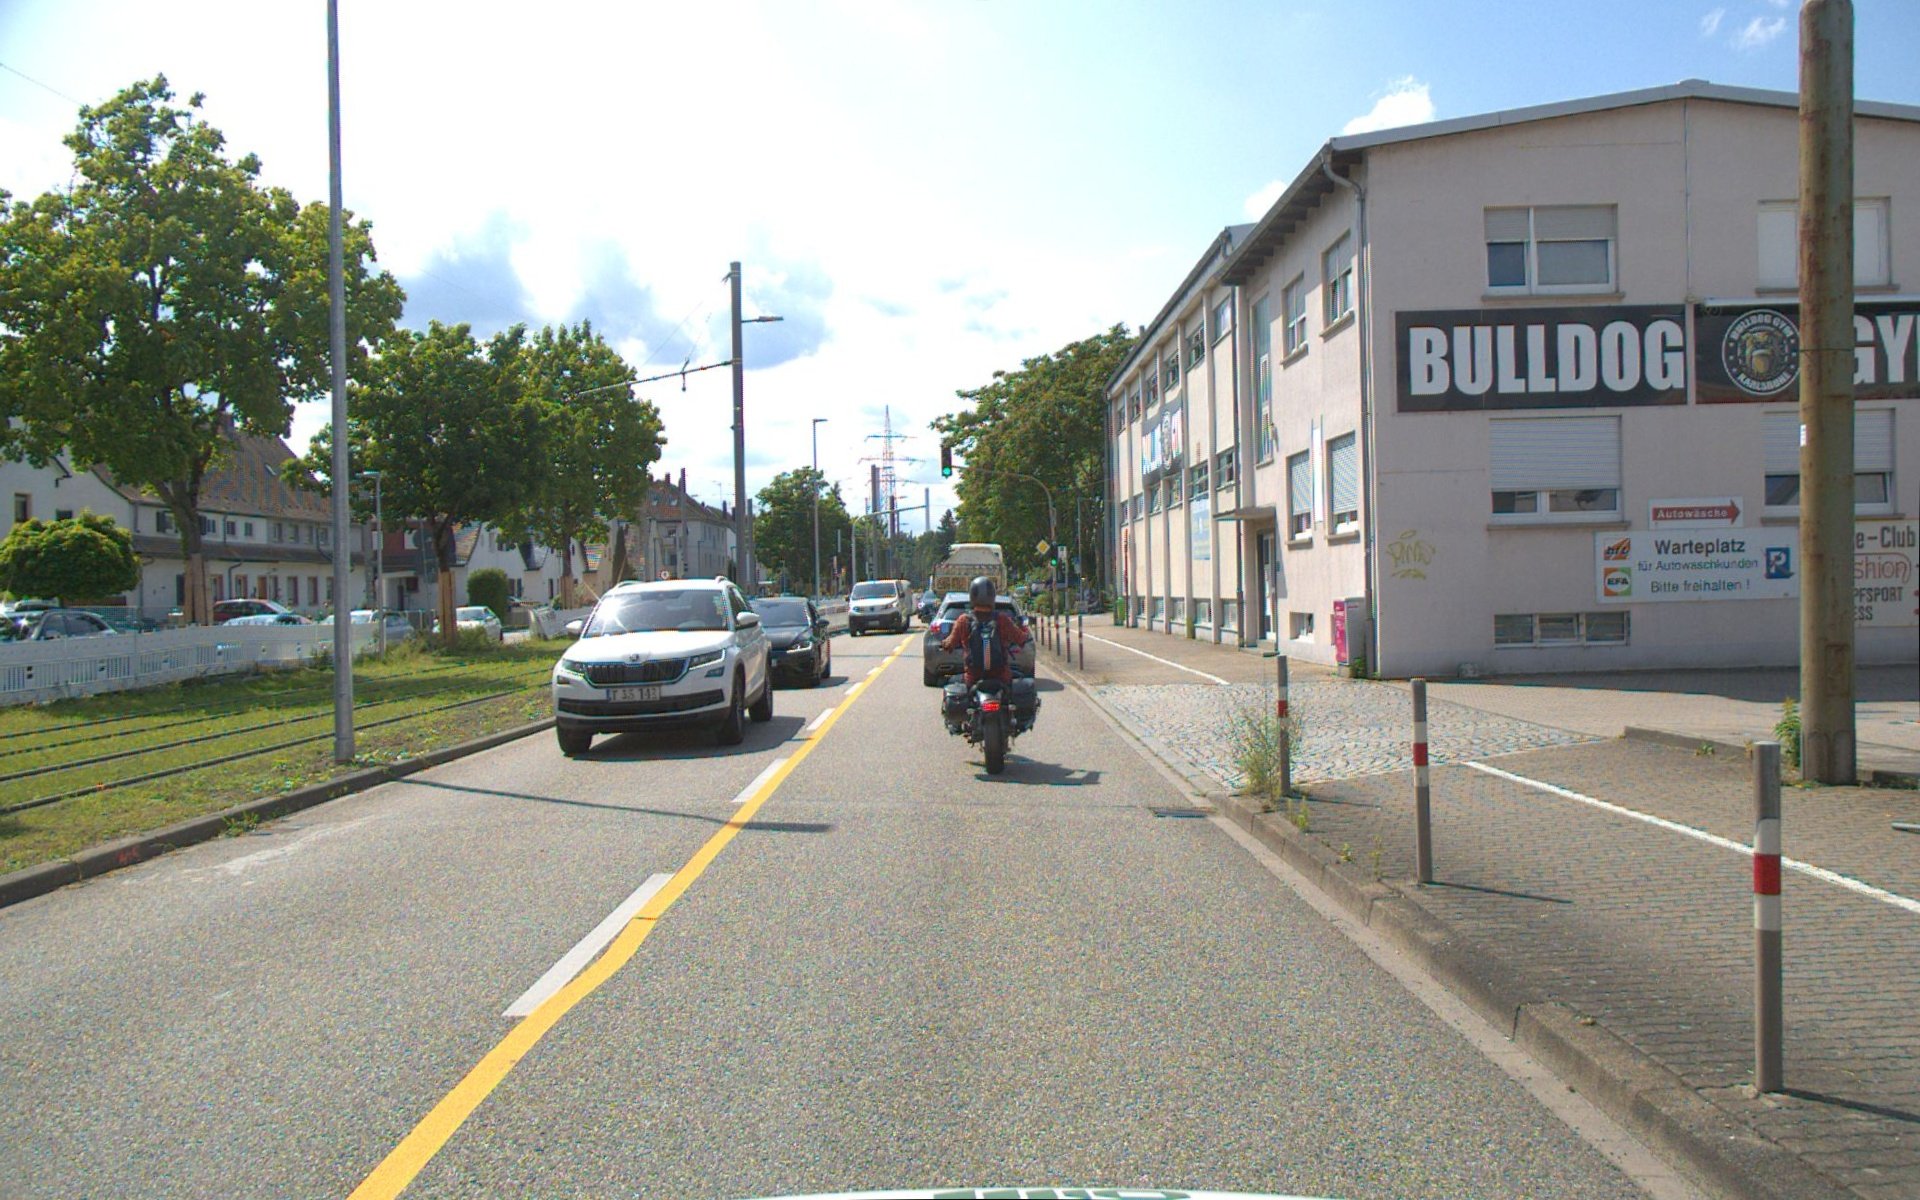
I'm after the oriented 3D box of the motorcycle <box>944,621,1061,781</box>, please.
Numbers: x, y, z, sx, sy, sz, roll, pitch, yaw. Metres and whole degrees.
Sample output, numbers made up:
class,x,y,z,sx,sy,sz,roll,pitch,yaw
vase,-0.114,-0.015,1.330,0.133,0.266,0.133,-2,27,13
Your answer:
class,x,y,z,sx,sy,sz,roll,pitch,yaw
motorcycle,0.339,0.821,14.437,0.923,1.221,2.472,0,0,0

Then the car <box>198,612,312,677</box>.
class,x,y,z,sx,sy,sz,roll,pitch,yaw
car,-16.018,0.978,37.684,1.313,1.348,3.169,-2,0,-2

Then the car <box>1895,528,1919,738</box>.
class,x,y,z,sx,sy,sz,roll,pitch,yaw
car,8.463,0.243,11.004,1.905,1.653,4.616,-2,0,1

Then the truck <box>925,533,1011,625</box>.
class,x,y,z,sx,sy,sz,roll,pitch,yaw
truck,0.394,-0.725,61.938,2.905,3.228,7.766,0,0,3

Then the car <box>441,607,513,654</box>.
class,x,y,z,sx,sy,sz,roll,pitch,yaw
car,-16.260,0.990,55.836,1.511,1.400,4.247,-3,1,-6

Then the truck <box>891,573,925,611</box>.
class,x,y,z,sx,sy,sz,roll,pitch,yaw
truck,-3.750,-0.596,120.090,2.050,2.519,5.197,-3,2,1

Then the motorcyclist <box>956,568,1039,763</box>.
class,x,y,z,sx,sy,sz,roll,pitch,yaw
motorcyclist,0.316,0.552,14.264,0.684,1.632,0.692,0,-1,0

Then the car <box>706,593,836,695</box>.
class,x,y,z,sx,sy,sz,roll,pitch,yaw
car,-3.066,0.688,27.541,1.658,1.437,3.859,-5,0,-1

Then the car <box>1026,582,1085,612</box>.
class,x,y,z,sx,sy,sz,roll,pitch,yaw
car,6.403,-0.189,110.651,1.773,1.959,3.971,0,-1,45

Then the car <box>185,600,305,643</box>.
class,x,y,z,sx,sy,sz,roll,pitch,yaw
car,-27.995,0.830,64.810,3.905,1.536,1.725,-2,0,-1

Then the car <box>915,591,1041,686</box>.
class,x,y,z,sx,sy,sz,roll,pitch,yaw
car,0.220,0.575,27.090,1.697,1.428,4.083,1,0,-4

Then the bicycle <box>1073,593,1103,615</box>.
class,x,y,z,sx,sy,sz,roll,pitch,yaw
bicycle,7.033,0.203,90.924,1.671,1.192,0.438,0,-1,5

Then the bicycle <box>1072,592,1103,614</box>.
class,x,y,z,sx,sy,sz,roll,pitch,yaw
bicycle,6.964,0.151,90.415,1.671,1.192,0.438,0,-1,5

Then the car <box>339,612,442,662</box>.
class,x,y,z,sx,sy,sz,roll,pitch,yaw
car,-15.279,0.958,44.555,1.472,1.197,3.748,-2,0,0

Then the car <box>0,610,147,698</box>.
class,x,y,z,sx,sy,sz,roll,pitch,yaw
car,-15.606,0.913,28.780,1.322,1.401,3.114,-2,0,0

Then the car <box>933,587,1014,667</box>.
class,x,y,z,sx,sy,sz,roll,pitch,yaw
car,0.381,0.617,41.174,1.862,1.742,4.721,-2,1,1

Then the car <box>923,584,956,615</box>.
class,x,y,z,sx,sy,sz,roll,pitch,yaw
car,-1.045,-0.037,85.774,1.611,1.524,4.269,-1,1,0

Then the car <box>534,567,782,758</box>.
class,x,y,z,sx,sy,sz,roll,pitch,yaw
car,-3.046,0.589,17.615,1.787,1.695,4.461,-3,0,0

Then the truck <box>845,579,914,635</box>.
class,x,y,z,sx,sy,sz,roll,pitch,yaw
truck,-2.867,0.216,60.114,1.781,1.943,5.120,1,1,5

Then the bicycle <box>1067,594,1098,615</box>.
class,x,y,z,sx,sy,sz,roll,pitch,yaw
bicycle,6.761,0.248,91.446,1.671,1.192,0.438,0,-1,5

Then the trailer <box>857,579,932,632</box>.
class,x,y,z,sx,sy,sz,roll,pitch,yaw
trailer,-2.477,0.201,64.385,2.019,1.867,5.489,-4,0,6
